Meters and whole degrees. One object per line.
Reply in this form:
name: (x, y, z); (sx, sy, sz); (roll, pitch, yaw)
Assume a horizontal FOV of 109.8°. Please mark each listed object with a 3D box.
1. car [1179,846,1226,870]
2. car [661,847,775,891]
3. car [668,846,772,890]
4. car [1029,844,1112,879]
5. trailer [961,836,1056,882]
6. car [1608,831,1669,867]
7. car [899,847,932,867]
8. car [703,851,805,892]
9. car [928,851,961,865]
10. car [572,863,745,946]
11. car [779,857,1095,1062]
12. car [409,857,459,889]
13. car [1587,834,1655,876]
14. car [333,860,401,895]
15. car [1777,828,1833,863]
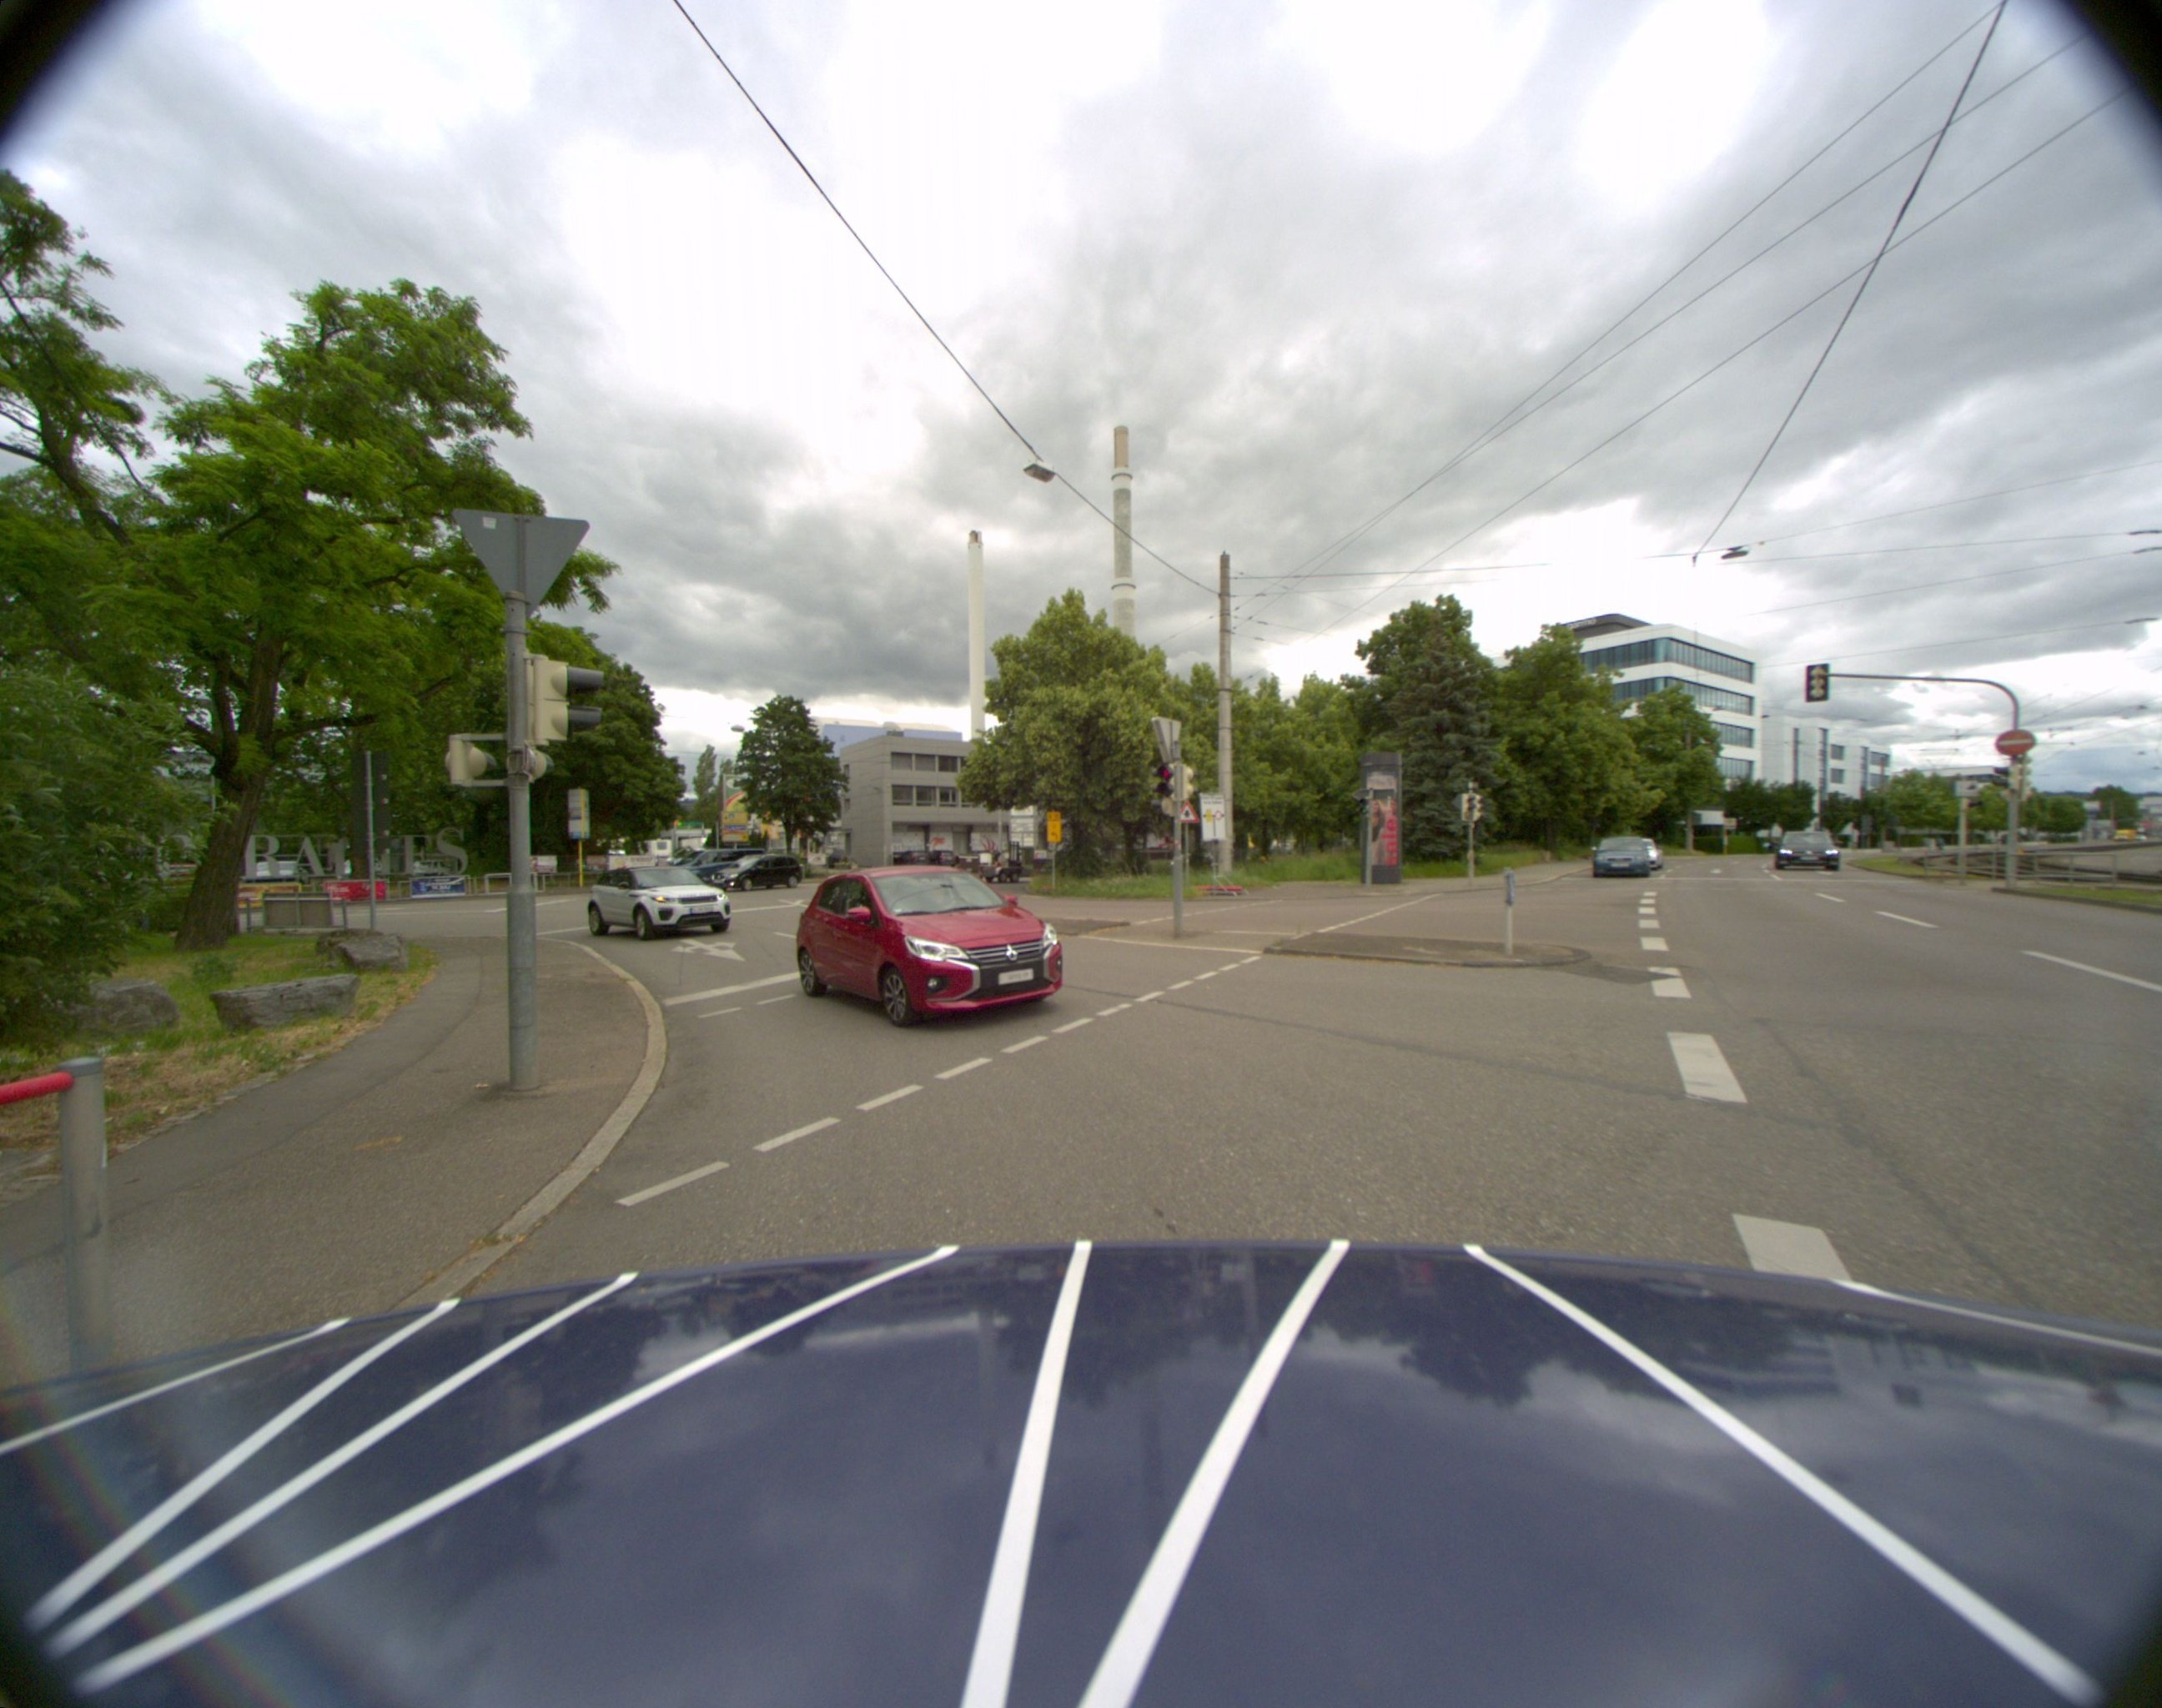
car: (11.101, 0.333, 69.250); (1.994, 1.654, 4.771); (0, 5, 39)
car: (-18.266, 0.704, 38.396); (1.828, 1.934, 4.812); (-1, 1, 45)
car: (-18.214, 0.646, 38.457); (1.994, 2.002, 4.247); (1, 2, 44)
car: (-0.545, 0.399, 47.825); (1.945, 1.968, 5.882); (1, 3, 38)
trailer: (-4.044, 0.224, 43.388); (2.145, 2.374, 5.398); (-1, 1, 39)
car: (24.656, -0.242, 33.544); (1.745, 1.418, 4.173); (-2, 1, 42)
car: (-15.601, 0.274, 71.627); (1.780, 1.670, 3.562); (-6, 5, -32)
car: (-15.190, 0.799, 35.560); (1.828, 1.761, 4.237); (-1, -1, 24)
car: (-13.231, 0.365, 73.600); (1.780, 1.172, 3.562); (-6, 5, -32)
car: (-10.040, 1.081, 17.958); (4.101, 1.561, 1.920); (0, 5, 37)
car: (-1.735, 0.863, 8.151); (1.771, 1.522, 3.729); (-4, 3, -38)
car: (-37.121, 1.058, 43.632); (2.003, 1.450, 4.686); (-7, 5, -40)
car: (19.985, 0.012, 28.079); (1.745, 1.384, 3.710); (-2, 1, 40)
car: (-38.938, 1.232, 41.556); (2.003, 1.450, 4.686); (-6, 5, -36)
car: (30.071, -0.374, 31.601); (1.624, 1.324, 3.180); (-1, 1, 43)
